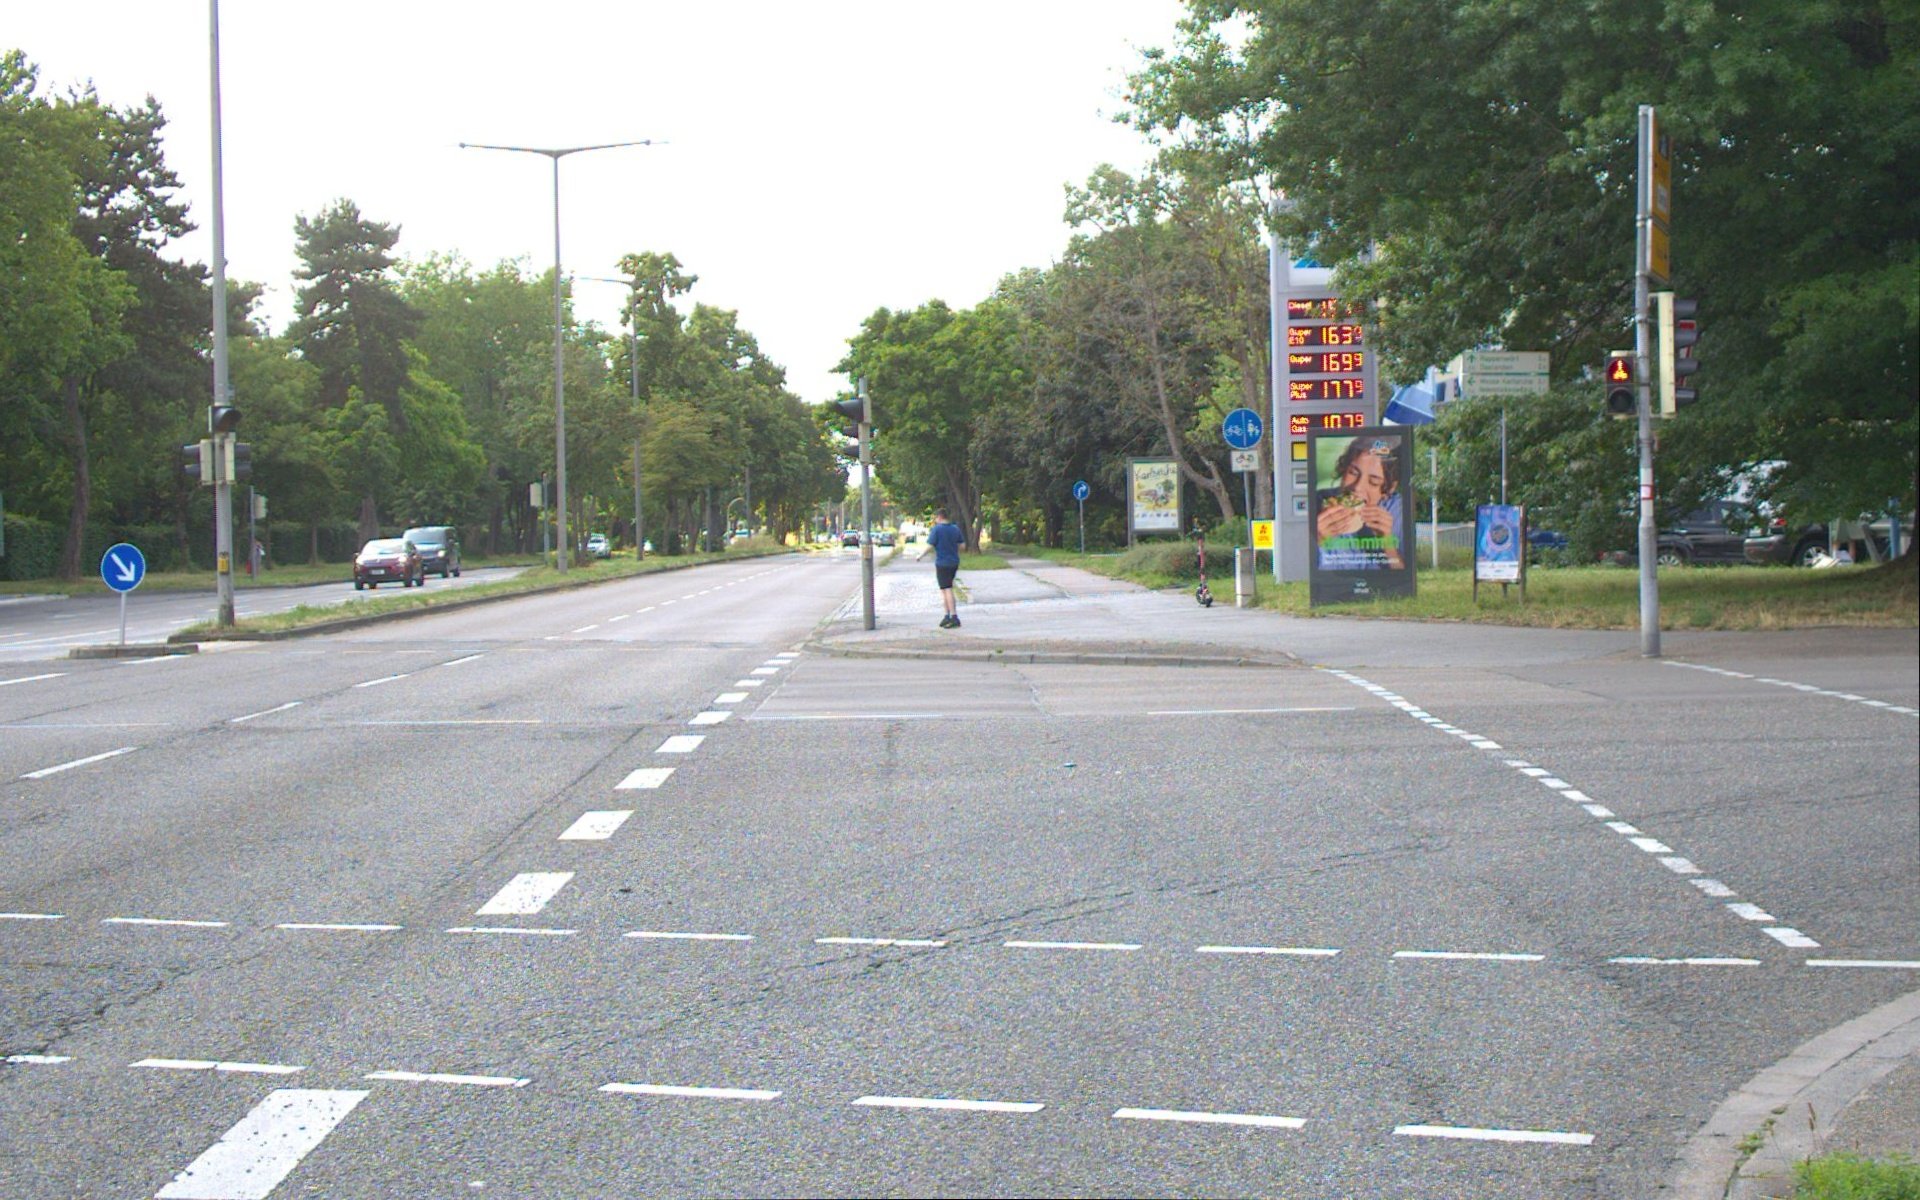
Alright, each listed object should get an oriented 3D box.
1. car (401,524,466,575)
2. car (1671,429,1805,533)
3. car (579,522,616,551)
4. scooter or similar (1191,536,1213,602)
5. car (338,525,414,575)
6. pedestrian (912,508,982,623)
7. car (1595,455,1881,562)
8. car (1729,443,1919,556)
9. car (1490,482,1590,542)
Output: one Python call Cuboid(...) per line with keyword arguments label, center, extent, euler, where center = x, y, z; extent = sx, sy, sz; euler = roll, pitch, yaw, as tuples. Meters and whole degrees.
Cuboid(label="car", center=(-20.268, -1.959, 132.400), extent=(1.765, 1.850, 4.817), euler=(-1, 2, -1))
Cuboid(label="car", center=(19.155, -2.890, 84.904), extent=(1.750, 2.445, 5.751), euler=(-1, 1, -2))
Cuboid(label="car", center=(-21.835, -3.818, 207.177), extent=(1.860, 1.699, 4.456), euler=(-1, 1, -2))
Cuboid(label="scooter or similar", center=(3.654, -0.480, 51.919), extent=(0.221, 0.976, 1.272), euler=(-1, 1, 0))
Cuboid(label="car", center=(-17.915, -1.535, 105.560), extent=(1.771, 1.460, 4.456), euler=(-1, 1, -3))
Cuboid(label="pedestrian", center=(-0.183, -0.475, 46.780), extent=(0.725, 1.526, 0.760), euler=(-2, 1, -17))
Cuboid(label="car", center=(15.618, -1.832, 69.157), extent=(5.180, 1.997, 2.154), euler=(-1, 1, -4))
Cuboid(label="car", center=(15.913, -1.723, 58.224), extent=(5.179, 1.820, 2.154), euler=(-2, 1, -11))
Cuboid(label="car", center=(14.797, -2.247, 87.857), extent=(1.750, 1.449, 3.741), euler=(-1, 1, -2))
